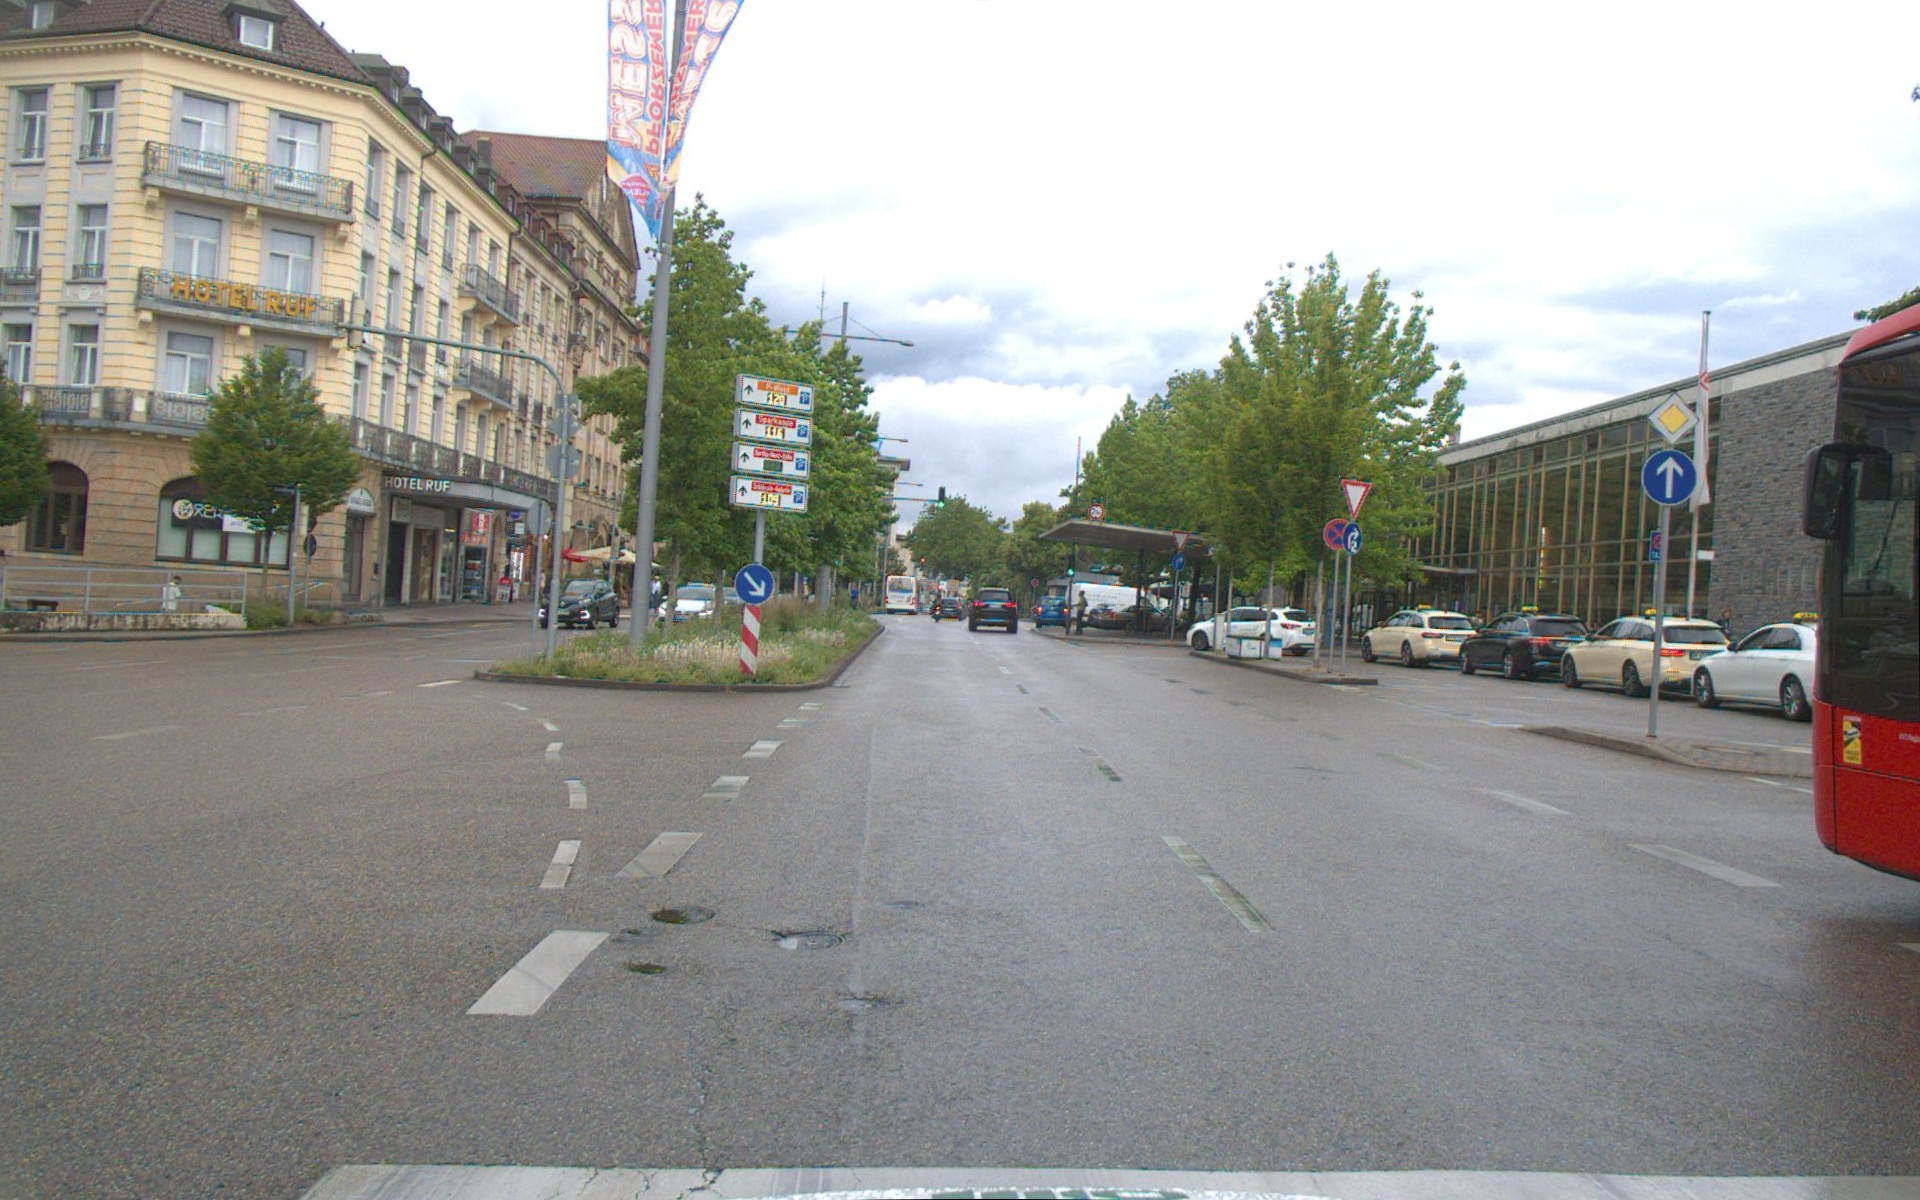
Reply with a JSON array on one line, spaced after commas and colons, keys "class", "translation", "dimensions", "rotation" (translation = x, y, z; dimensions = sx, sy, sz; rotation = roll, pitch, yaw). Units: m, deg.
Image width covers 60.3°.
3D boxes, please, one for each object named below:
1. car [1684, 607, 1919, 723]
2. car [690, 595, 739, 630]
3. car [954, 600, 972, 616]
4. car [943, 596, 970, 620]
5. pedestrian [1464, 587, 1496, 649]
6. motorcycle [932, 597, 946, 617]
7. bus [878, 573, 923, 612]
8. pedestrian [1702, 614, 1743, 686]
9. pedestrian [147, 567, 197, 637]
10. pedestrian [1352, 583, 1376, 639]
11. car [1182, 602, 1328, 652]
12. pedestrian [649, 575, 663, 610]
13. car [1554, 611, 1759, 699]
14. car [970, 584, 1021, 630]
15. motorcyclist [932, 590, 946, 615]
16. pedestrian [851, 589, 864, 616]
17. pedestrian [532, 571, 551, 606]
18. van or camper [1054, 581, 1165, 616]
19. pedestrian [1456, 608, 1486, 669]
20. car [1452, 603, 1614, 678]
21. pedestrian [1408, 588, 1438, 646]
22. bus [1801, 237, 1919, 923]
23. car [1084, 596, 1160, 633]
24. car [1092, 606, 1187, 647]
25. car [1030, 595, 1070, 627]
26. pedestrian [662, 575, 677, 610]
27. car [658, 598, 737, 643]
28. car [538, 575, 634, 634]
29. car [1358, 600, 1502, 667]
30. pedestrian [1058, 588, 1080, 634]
[{"class": "car", "translation": [13.369, 0.950, 26.068], "dimensions": [1.739, 1.617, 4.614], "rotation": [1, 0, -2]}, {"class": "car", "translation": [-10.972, 0.530, 74.049], "dimensions": [1.597, 1.502, 4.026], "rotation": [0, 0, 0]}, {"class": "car", "translation": [0.279, 0.804, 164.518], "dimensions": [1.673, 1.500, 3.999], "rotation": [1, 0, -1]}, {"class": "car", "translation": [-0.260, 0.505, 109.194], "dimensions": [1.673, 1.473, 3.999], "rotation": [1, 0, -1]}, {"class": "pedestrian", "translation": [17.396, 0.596, 55.377], "dimensions": [0.754, 2.049, 0.828], "rotation": [1, 0, -3]}, {"class": "motorcycle", "translation": [-1.153, 0.385, 91.128], "dimensions": [0.750, 1.095, 2.175], "rotation": [2, 0, -1]}, {"class": "bus", "translation": [-5.192, -0.655, 146.975], "dimensions": [3.684, 3.265, 15.522], "rotation": [1, 0, -1]}, {"class": "pedestrian", "translation": [18.164, 1.194, 39.409], "dimensions": [0.553, 1.675, 0.715], "rotation": [1, 0, -6]}, {"class": "pedestrian", "translation": [-21.819, 0.053, 45.834], "dimensions": [0.845, 1.911, 1.022], "rotation": [2, 0, -1]}, {"class": "pedestrian", "translation": [18.036, 0.498, 73.934], "dimensions": [0.825, 2.453, 0.862], "rotation": [1, 0, 1]}, {"class": "car", "translation": [9.091, 0.816, 51.197], "dimensions": [1.764, 1.409, 4.303], "rotation": [1, 0, -41]}, {"class": "pedestrian", "translation": [-15.262, -0.369, 83.103], "dimensions": [0.563, 1.762, 0.609], "rotation": [2, 0, -1]}, {"class": "car", "translation": [13.239, 0.993, 31.784], "dimensions": [1.809, 1.477, 4.664], "rotation": [1, 0, -2]}, {"class": "car", "translation": [1.463, 0.282, 69.861], "dimensions": [1.953, 1.837, 4.689], "rotation": [1, 0, -1]}, {"class": "motorcyclist", "translation": [-1.149, 0.119, 91.158], "dimensions": [0.749, 1.355, 0.866], "rotation": [2, 0, -1]}, {"class": "pedestrian", "translation": [-6.492, 0.157, 104.748], "dimensions": [0.742, 1.730, 0.560], "rotation": [2, 0, 6]}, {"class": "pedestrian", "translation": [-18.851, -0.509, 74.521], "dimensions": [0.656, 1.537, 0.512], "rotation": [2, 0, -39]}, {"class": "van or camper", "translation": [9.315, -0.083, 102.933], "dimensions": [6.675, 2.049, 2.364], "rotation": [1, -1, -27]}, {"class": "pedestrian", "translation": [14.781, 1.103, 47.848], "dimensions": [0.553, 1.739, 0.715], "rotation": [2, 0, -6]}, {"class": "car", "translation": [13.049, 0.888, 38.005], "dimensions": [1.875, 1.551, 4.740], "rotation": [1, 0, -3]}, {"class": "pedestrian", "translation": [16.345, 0.596, 58.431], "dimensions": [0.754, 2.049, 0.828], "rotation": [1, 0, -3]}, {"class": "bus", "translation": [5.984, -0.062, 3.715], "dimensions": [2.687, 3.229, 10.191], "rotation": [1, 0, -2]}, {"class": "car", "translation": [9.467, 0.852, 96.785], "dimensions": [3.929, 2.049, 1.988], "rotation": [2, 0, -21]}, {"class": "car", "translation": [8.942, 1.309, 82.400], "dimensions": [4.273, 1.890, 1.988], "rotation": [2, 0, -21]}, {"class": "car", "translation": [4.620, 0.548, 85.465], "dimensions": [1.779, 1.557, 3.999], "rotation": [1, 0, -1]}, {"class": "pedestrian", "translation": [-14.598, -0.356, 83.119], "dimensions": [0.661, 1.731, 0.633], "rotation": [1, 0, -1]}, {"class": "car", "translation": [-8.672, 0.644, 54.966], "dimensions": [1.688, 1.406, 4.860], "rotation": [1, 0, 2]}, {"class": "car", "translation": [-11.988, 0.107, 53.212], "dimensions": [1.734, 1.556, 4.083], "rotation": [3, 4, 6]}, {"class": "car", "translation": [12.548, 0.854, 44.482], "dimensions": [1.956, 1.628, 4.814], "rotation": [1, 0, -8]}, {"class": "pedestrian", "translation": [4.389, 0.449, 66.627], "dimensions": [0.705, 1.822, 0.663], "rotation": [2, 0, -12]}]
